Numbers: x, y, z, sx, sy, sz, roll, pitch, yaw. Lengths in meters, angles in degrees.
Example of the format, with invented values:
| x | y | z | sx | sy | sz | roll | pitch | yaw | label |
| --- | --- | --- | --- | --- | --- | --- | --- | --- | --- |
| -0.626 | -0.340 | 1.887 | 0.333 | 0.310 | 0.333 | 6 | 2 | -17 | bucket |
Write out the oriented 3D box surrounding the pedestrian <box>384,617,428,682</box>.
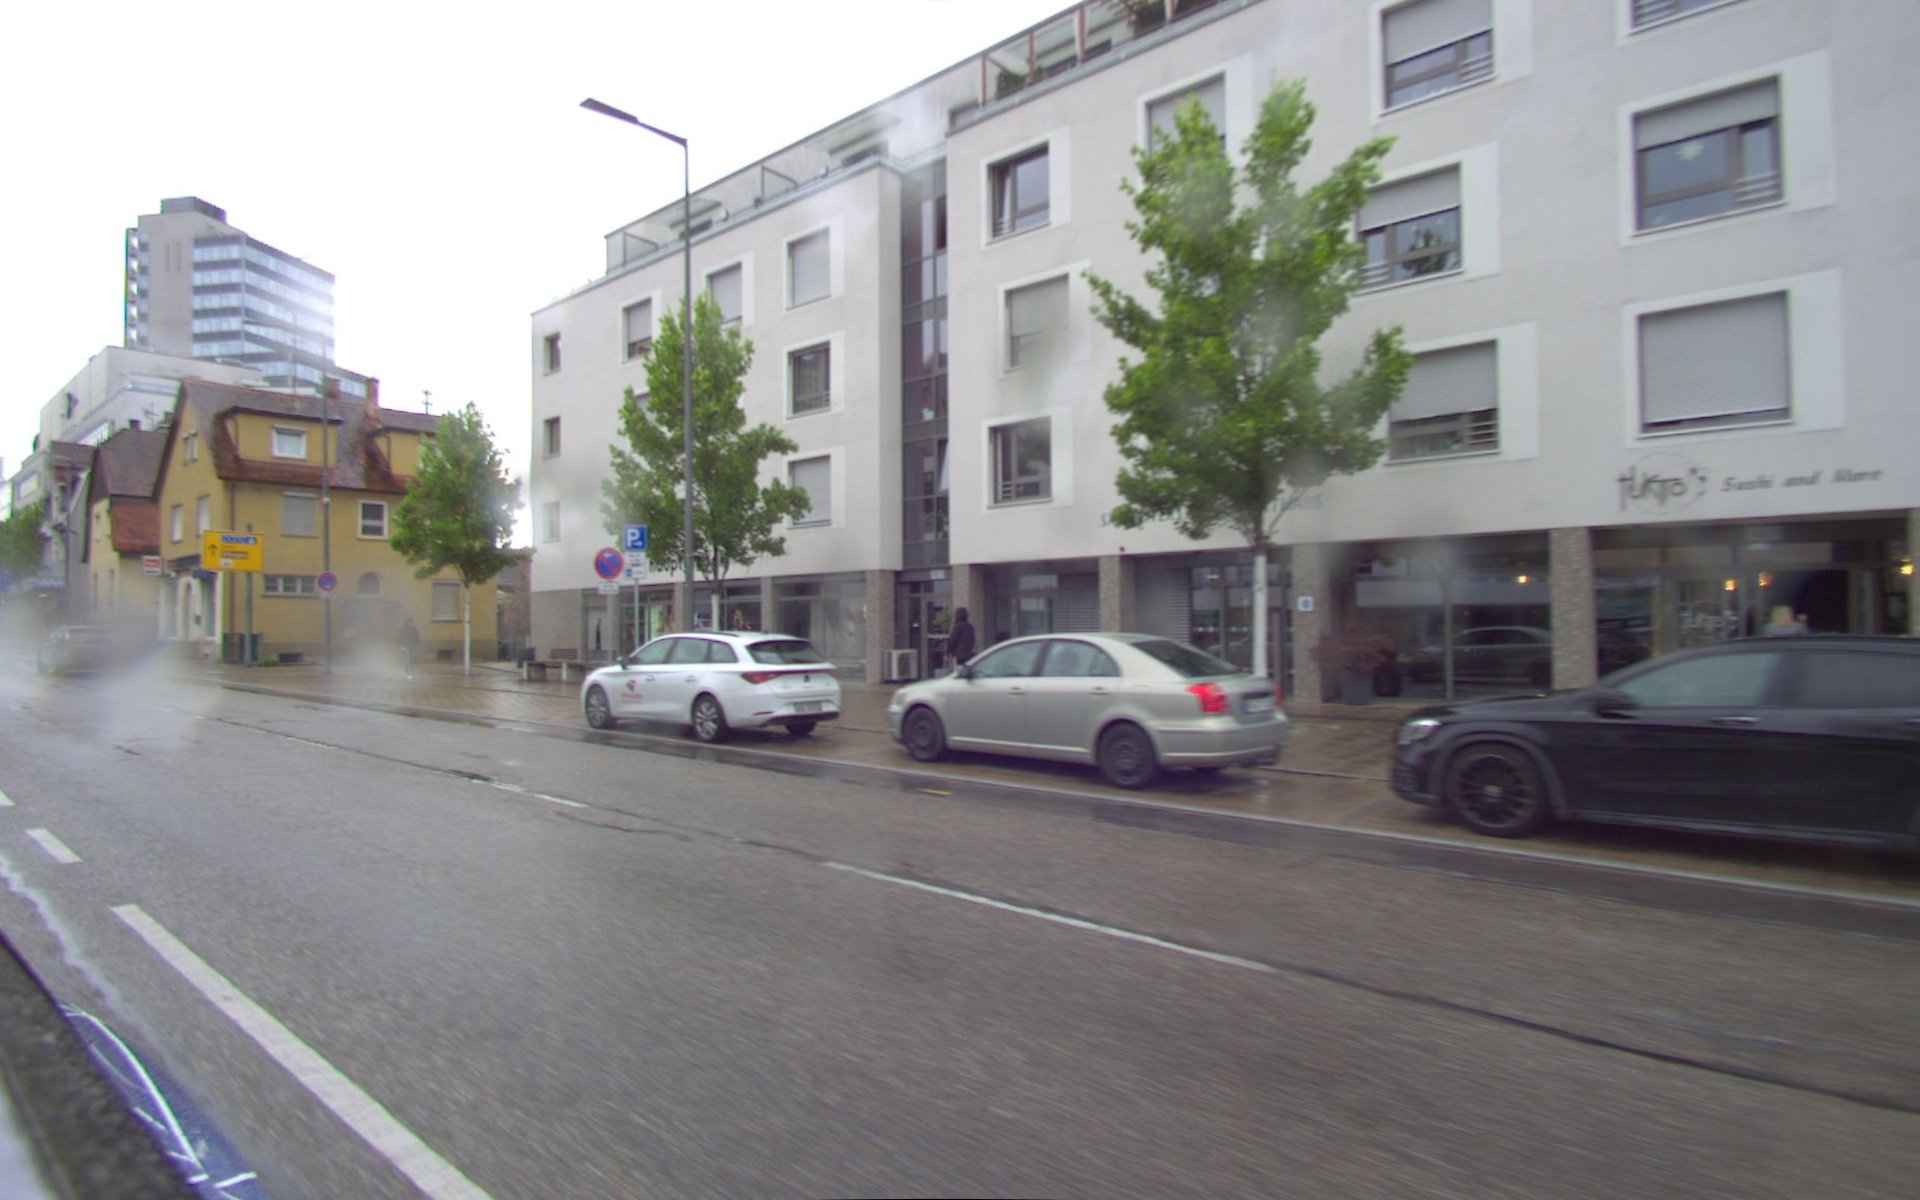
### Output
| x | y | z | sx | sy | sz | roll | pitch | yaw | label |
| --- | --- | --- | --- | --- | --- | --- | --- | --- | --- |
| -15.927 | 1.416 | 29.096 | 0.881 | 1.801 | 0.792 | 0 | -1 | 40 | pedestrian |

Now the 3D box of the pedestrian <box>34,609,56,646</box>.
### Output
| x | y | z | sx | sy | sz | roll | pitch | yaw | label |
| --- | --- | --- | --- | --- | --- | --- | --- | --- | --- |
| -49.329 | 1.490 | 54.544 | 0.944 | 1.935 | 0.656 | 0 | 1 | 33 | pedestrian |

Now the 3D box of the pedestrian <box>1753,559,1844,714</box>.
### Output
| x | y | z | sx | sy | sz | roll | pitch | yaw | label |
| --- | --- | --- | --- | --- | --- | --- | --- | --- | --- |
| 12.069 | 0.509 | 14.590 | 0.743 | 2.161 | 0.767 | 1 | 0 | 16 | pedestrian |

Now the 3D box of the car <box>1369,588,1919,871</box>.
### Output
| x | y | z | sx | sy | sz | roll | pitch | yaw | label |
| --- | --- | --- | --- | --- | --- | --- | --- | --- | --- |
| 5.317 | 0.768 | 6.852 | 4.468 | 1.594 | 1.571 | -2 | -3 | 41 | car |

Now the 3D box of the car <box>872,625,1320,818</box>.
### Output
| x | y | z | sx | sy | sz | roll | pitch | yaw | label |
| --- | --- | --- | --- | --- | --- | --- | --- | --- | --- |
| 1.232 | 1.082 | 10.717 | 4.578 | 1.521 | 1.672 | 0 | -1 | 44 | car |

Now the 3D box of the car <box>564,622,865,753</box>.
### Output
| x | y | z | sx | sy | sz | roll | pitch | yaw | label |
| --- | --- | --- | --- | --- | --- | --- | --- | --- | --- |
| -3.563 | 1.099 | 14.267 | 4.474 | 1.474 | 1.778 | 1 | -1 | 39 | car |

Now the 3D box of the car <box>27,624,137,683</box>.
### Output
| x | y | z | sx | sy | sz | roll | pitch | yaw | label |
| --- | --- | --- | --- | --- | --- | --- | --- | --- | --- |
| -26.162 | 1.538 | 30.107 | 4.182 | 1.535 | 1.861 | 0 | -1 | 41 | car |

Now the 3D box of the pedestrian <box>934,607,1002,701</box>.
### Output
| x | y | z | sx | sy | sz | roll | pitch | yaw | label |
| --- | --- | --- | --- | --- | --- | --- | --- | --- | --- |
| 0.158 | 1.025 | 19.555 | 1.002 | 1.751 | 0.800 | 0 | -1 | 40 | pedestrian |
